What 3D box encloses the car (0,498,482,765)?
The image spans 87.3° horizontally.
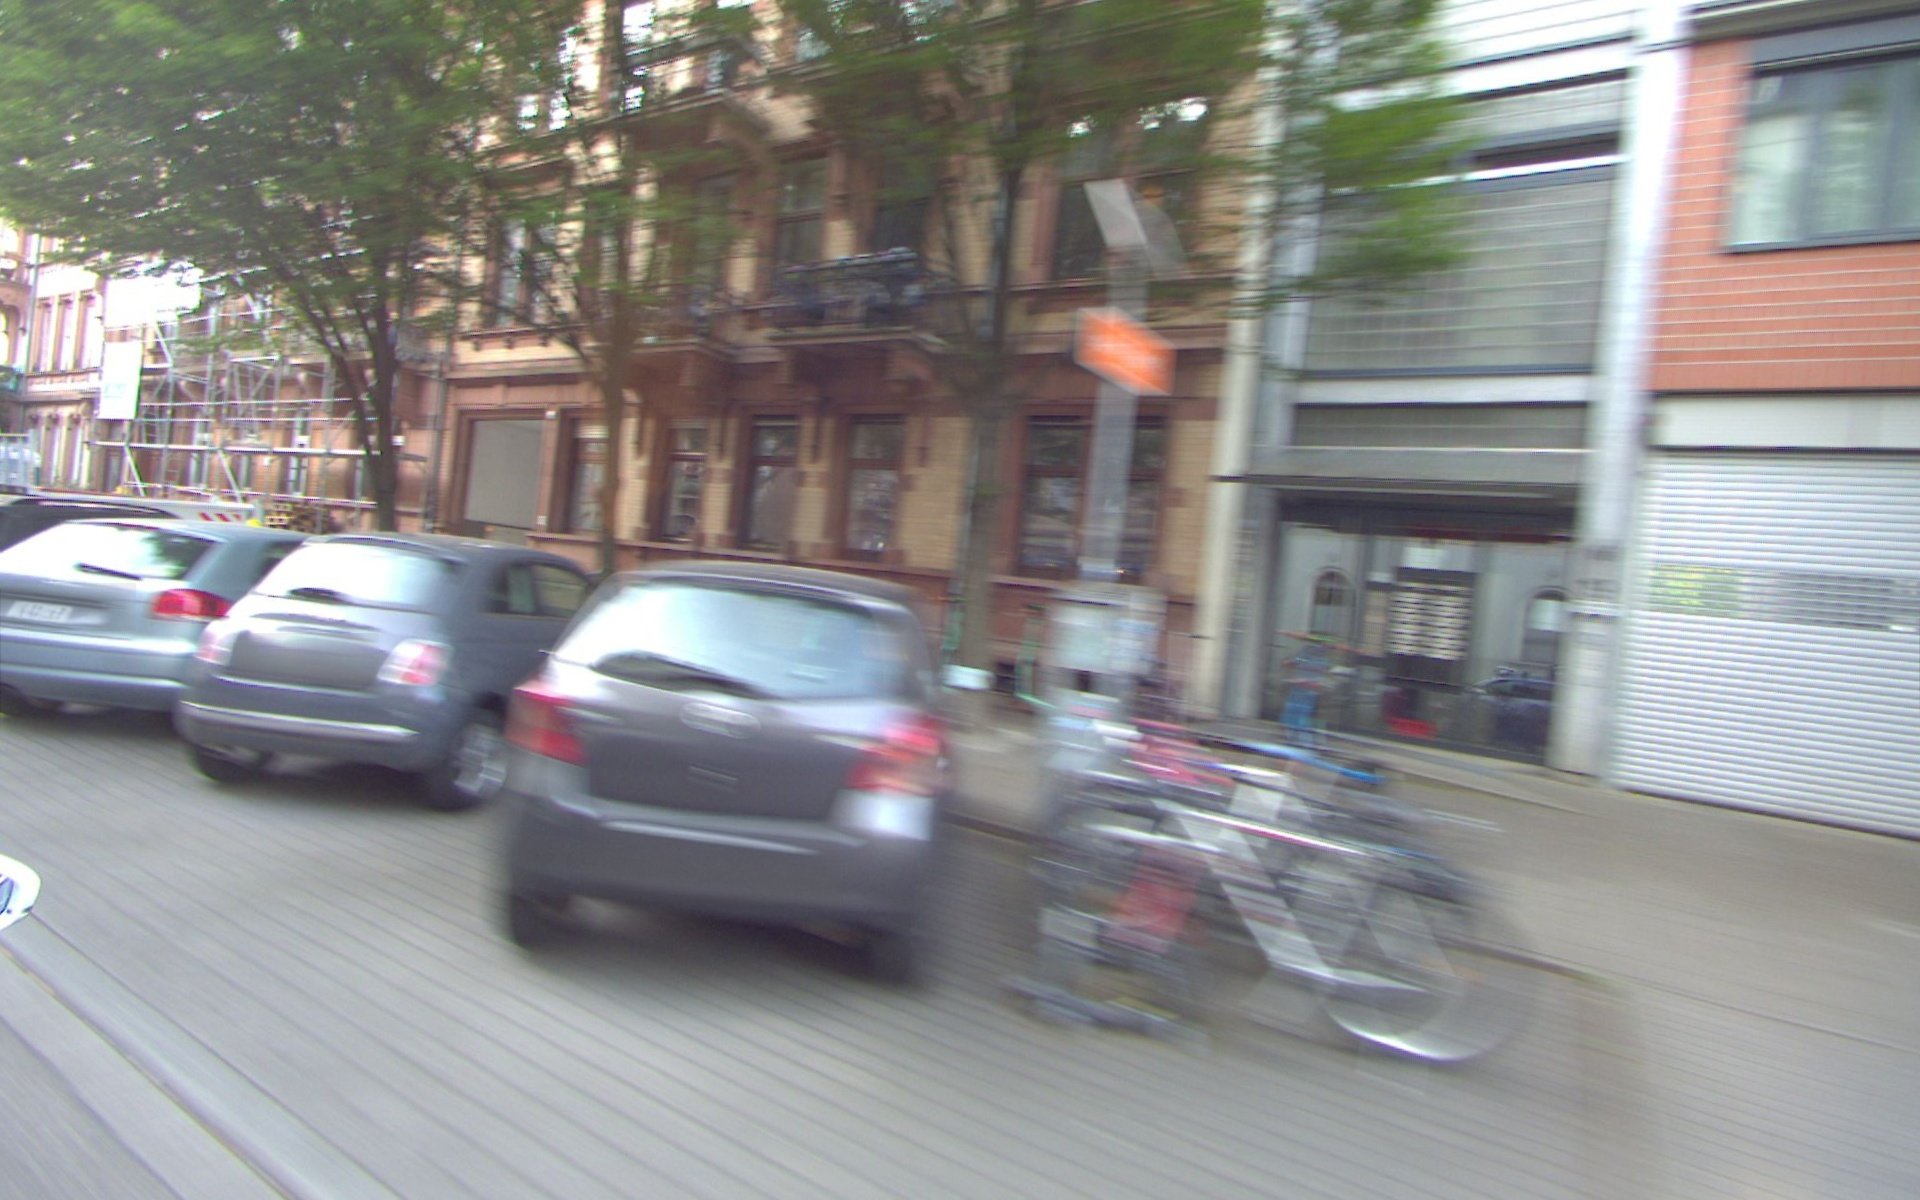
[{"bbox_3d":[-5.564,0.141,7.949,1.730,1.455,3.834,7,1,-2],"label":"car"}]

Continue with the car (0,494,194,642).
[{"bbox_3d":[-10.401,-0.401,10.702,1.581,1.482,3.561,7,-1,1],"label":"car"}]

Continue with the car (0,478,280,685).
[{"bbox_3d":[-8.131,-0.217,9.045,1.609,1.548,3.890,7,-1,-7],"label":"car"}]

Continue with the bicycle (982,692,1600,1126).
[{"bbox_3d":[1.047,0.995,3.517,1.822,1.121,0.694,5,0,3],"label":"bicycle"}]

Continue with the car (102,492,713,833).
[{"bbox_3d":[-3.318,0.310,7.028,1.729,1.550,3.837,6,1,7],"label":"car"}]

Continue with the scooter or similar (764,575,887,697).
[{"bbox_3d":[-1.597,0.405,11.866,1.328,1.259,0.511,7,3,31],"label":"scooter or similar"}]

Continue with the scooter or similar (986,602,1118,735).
[{"bbox_3d":[0.958,0.703,10.914,0.366,1.234,1.688,2,3,-33],"label":"scooter or similar"}]

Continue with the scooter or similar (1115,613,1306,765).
[{"bbox_3d":[2.380,0.810,9.761,1.752,1.235,0.410,6,4,44],"label":"scooter or similar"}]

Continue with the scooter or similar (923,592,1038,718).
[{"bbox_3d":[0.196,0.582,11.354,0.366,1.234,1.605,2,3,-33],"label":"scooter or similar"}]

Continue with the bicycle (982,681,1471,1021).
[{"bbox_3d":[1.059,1.009,4.264,1.822,1.121,0.559,5,0,3],"label":"bicycle"}]

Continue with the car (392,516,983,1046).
[{"bbox_3d":[-0.847,0.559,4.920,1.741,1.493,3.405,7,1,1],"label":"car"}]

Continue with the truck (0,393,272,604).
[{"bbox_3d":[-15.804,-1.748,17.022,2.228,3.010,6.327,3,-3,33],"label":"truck"}]

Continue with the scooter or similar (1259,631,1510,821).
[{"bbox_3d":[3.389,0.955,8.171,1.752,1.235,0.465,6,6,44],"label":"scooter or similar"}]

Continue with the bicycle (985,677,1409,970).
[{"bbox_3d":[1.088,1.036,4.874,1.822,1.121,0.559,5,0,3],"label":"bicycle"}]
